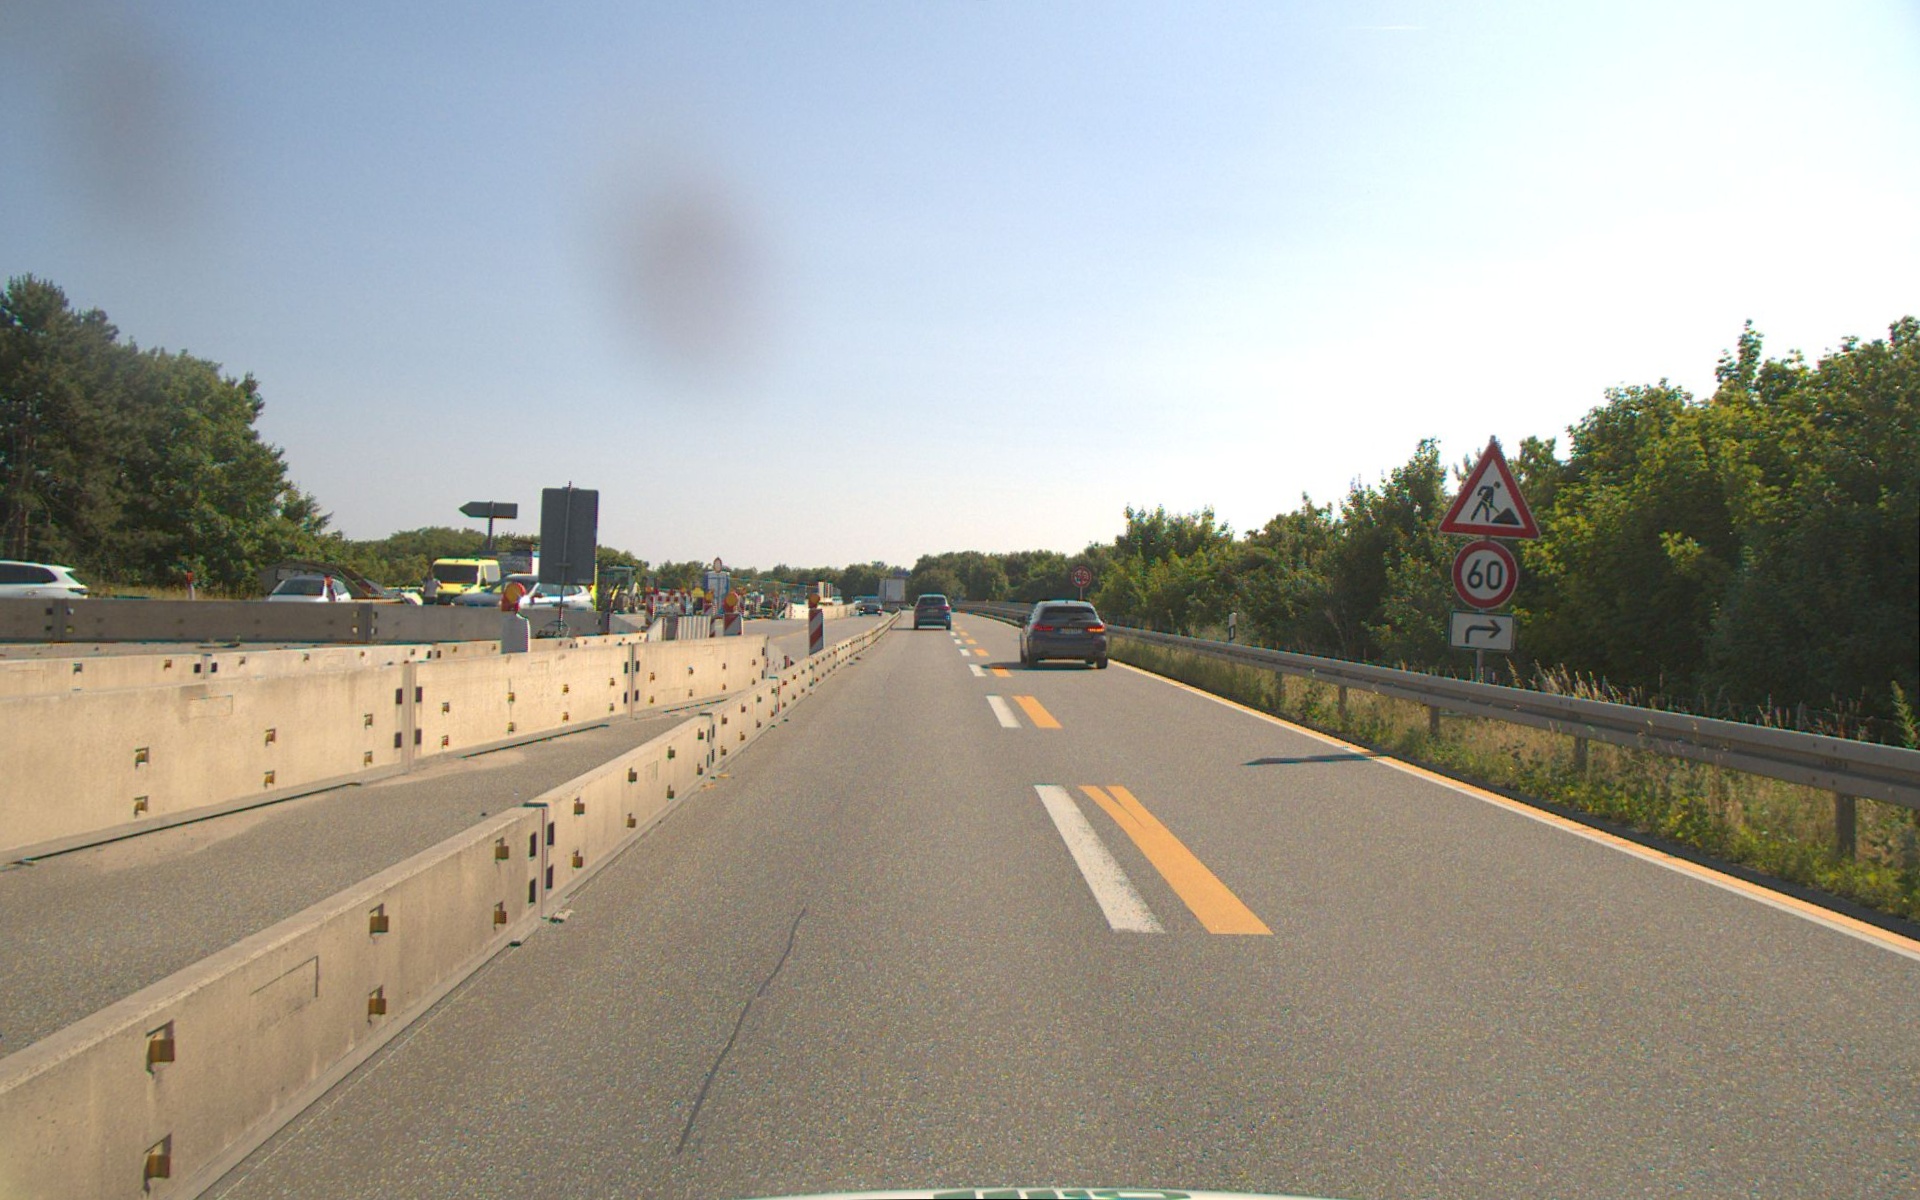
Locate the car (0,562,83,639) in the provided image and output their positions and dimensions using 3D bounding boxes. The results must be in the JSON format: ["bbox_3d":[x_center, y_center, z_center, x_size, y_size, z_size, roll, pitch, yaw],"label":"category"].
[{"bbox_3d":[-20.815,-0.020,34.700,3.963,1.581,1.932,2,0,-40],"label":"car"}]

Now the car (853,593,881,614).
[{"bbox_3d":[-7.092,0.253,126.541,1.821,1.499,4.684,2,0,-1],"label":"car"}]

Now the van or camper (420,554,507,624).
[{"bbox_3d":[-18.576,-0.412,62.161,1.955,2.419,6.192,2,0,-7],"label":"van or camper"}]

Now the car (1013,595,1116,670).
[{"bbox_3d":[2.291,0.691,37.224,1.882,1.520,3.998,2,0,-2],"label":"car"}]

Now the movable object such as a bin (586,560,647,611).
[{"bbox_3d":[-19.105,-0.806,92.289,1.988,2.763,5.110,1,0,4],"label":"movable object such as a bin"}]

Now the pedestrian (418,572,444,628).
[{"bbox_3d":[-17.473,-0.005,54.612,0.728,1.852,0.795,1,0,-12],"label":"pedestrian"}]

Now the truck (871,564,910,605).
[{"bbox_3d":[-9.134,-1.974,214.283,3.690,4.997,14.112,2,0,-8],"label":"truck"}]

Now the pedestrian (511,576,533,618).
[{"bbox_3d":[-18.647,-0.128,70.448,0.708,1.792,0.720,2,0,-2],"label":"pedestrian"}]

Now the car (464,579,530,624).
[{"bbox_3d":[-18.905,0.051,67.694,1.654,1.715,4.455,2,0,-4],"label":"car"}]

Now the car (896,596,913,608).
[{"bbox_3d":[-7.841,0.271,235.036,1.956,1.717,3.992,2,0,-8],"label":"car"}]

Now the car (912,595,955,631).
[{"bbox_3d":[-1.214,0.592,77.949,1.953,1.594,4.000,1,0,0],"label":"car"}]

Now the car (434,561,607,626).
[{"bbox_3d":[-12.131,-0.156,46.011,1.954,1.650,4.844,2,0,26],"label":"car"}]
